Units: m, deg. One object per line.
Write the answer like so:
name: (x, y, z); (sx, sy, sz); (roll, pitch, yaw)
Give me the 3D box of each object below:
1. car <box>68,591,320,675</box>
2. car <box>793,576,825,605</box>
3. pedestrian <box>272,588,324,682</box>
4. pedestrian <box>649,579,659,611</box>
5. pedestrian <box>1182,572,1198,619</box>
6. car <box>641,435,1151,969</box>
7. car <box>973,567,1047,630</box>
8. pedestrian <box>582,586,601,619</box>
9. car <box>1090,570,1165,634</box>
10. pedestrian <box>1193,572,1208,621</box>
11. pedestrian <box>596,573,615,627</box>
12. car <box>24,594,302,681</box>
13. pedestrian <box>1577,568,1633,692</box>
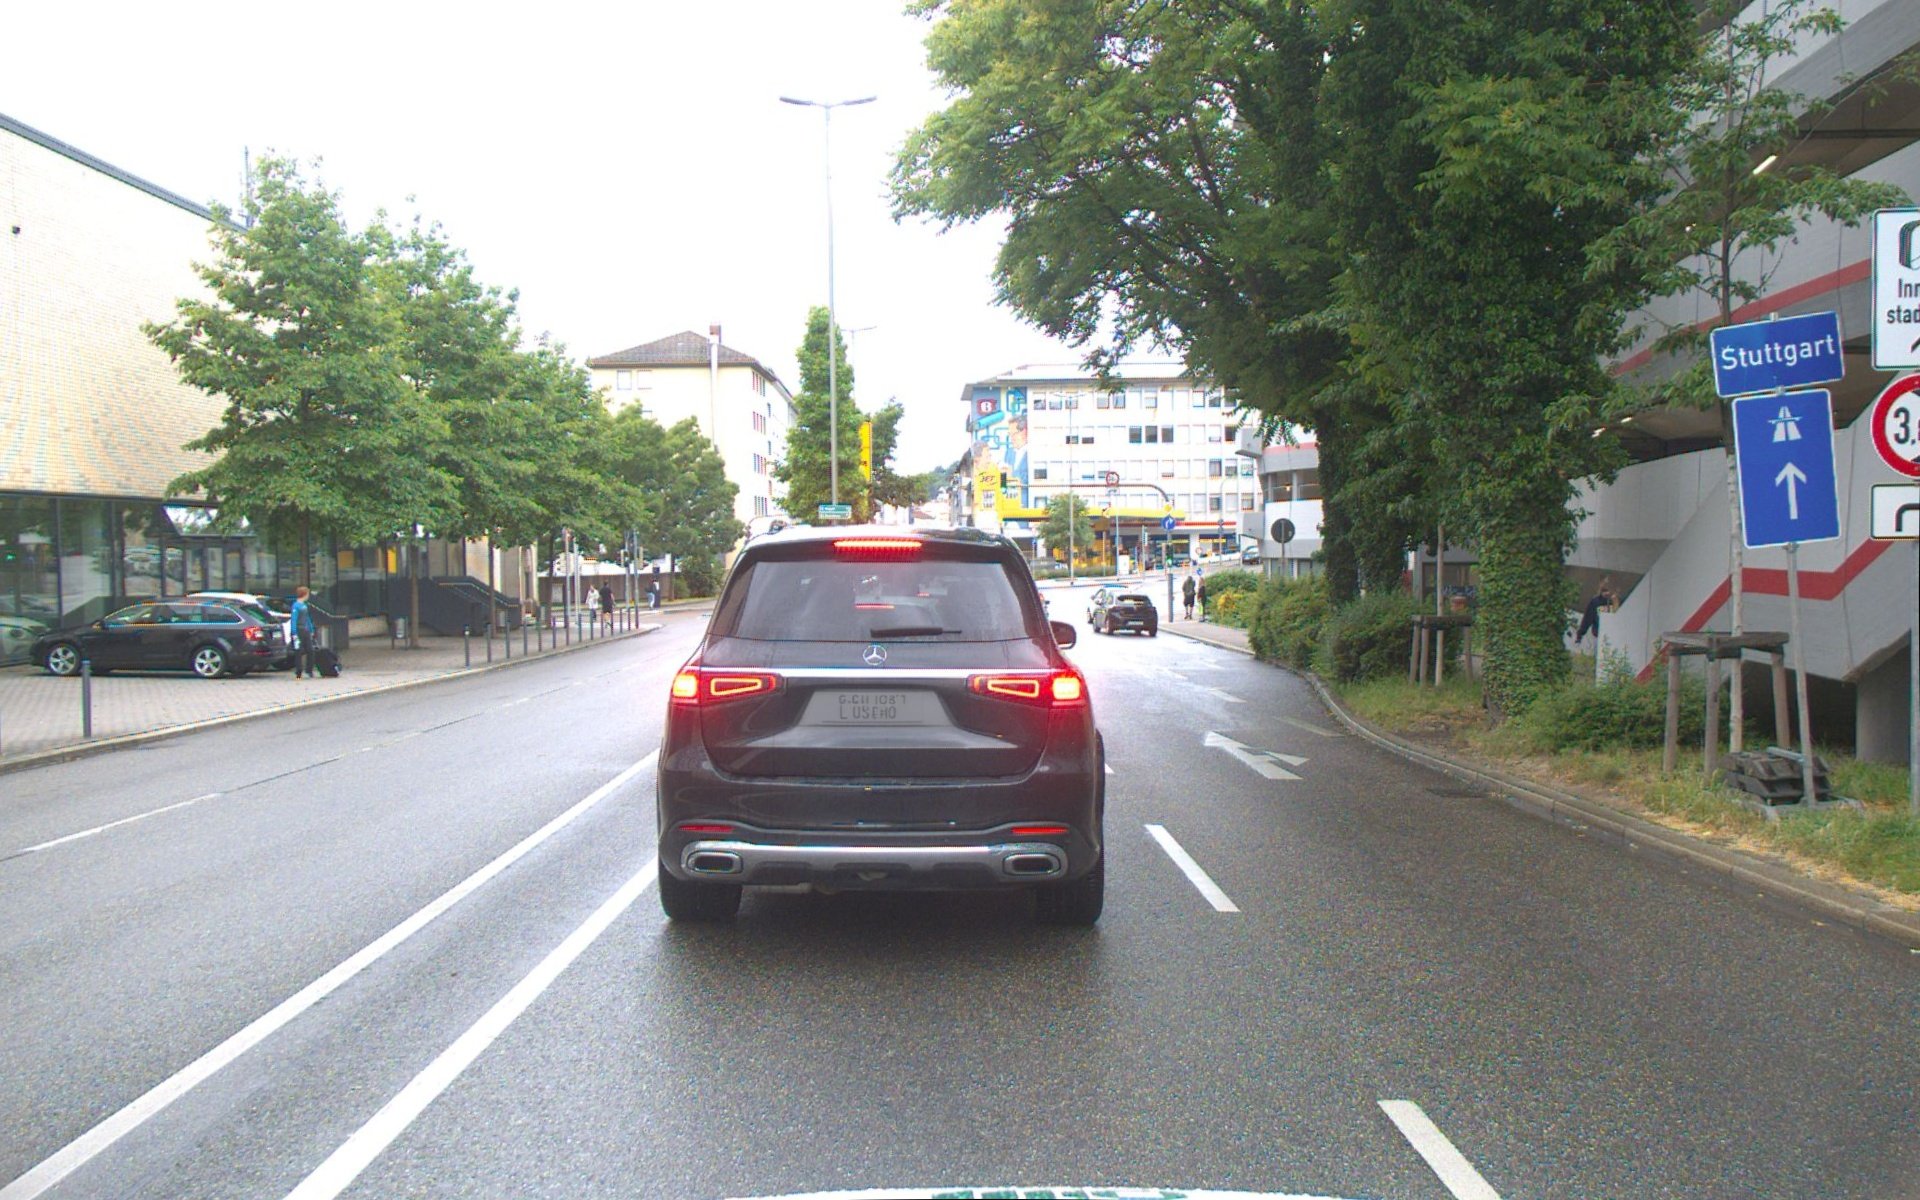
car: (-15.912, 0.674, 34.550); (4.331, 1.601, 1.998); (1, 2, -6)
car: (-10.305, -0.634, 113.295); (1.954, 1.908, 5.139); (1, 0, -3)
pedestrian: (-12.637, 0.655, 31.592); (0.675, 1.755, 0.754); (1, 1, -2)
pedestrian: (-15.910, -0.256, 85.955); (0.391, 1.673, 0.567); (1, -1, -1)
pedestrian: (9.706, -0.190, 69.934); (0.607, 1.969, 0.610); (1, -1, 4)
car: (-0.316, 0.416, 8.452); (1.953, 2.049, 3.998); (1, 0, -2)
car: (1.690, -0.038, 57.220); (1.956, 2.049, 3.994); (1, 0, -7)
pedestrian: (-17.120, 0.115, 76.831); (0.697, 1.487, 0.598); (1, -1, -2)
car: (5.613, 0.041, 55.943); (1.954, 2.049, 3.998); (0, 1, -3)
pedestrian: (9.531, -0.127, 65.575); (0.509, 1.944, 0.556); (1, -1, -1)
pedestrian: (-13.677, 0.004, 63.785); (0.576, 2.048, 0.749); (1, 1, -3)
car: (-15.235, 0.694, 31.831); (4.383, 1.615, 1.997); (0, 0, -8)
pedestrian: (8.268, 0.380, 21.224); (0.539, 1.559, 0.488); (1, -1, 5)
